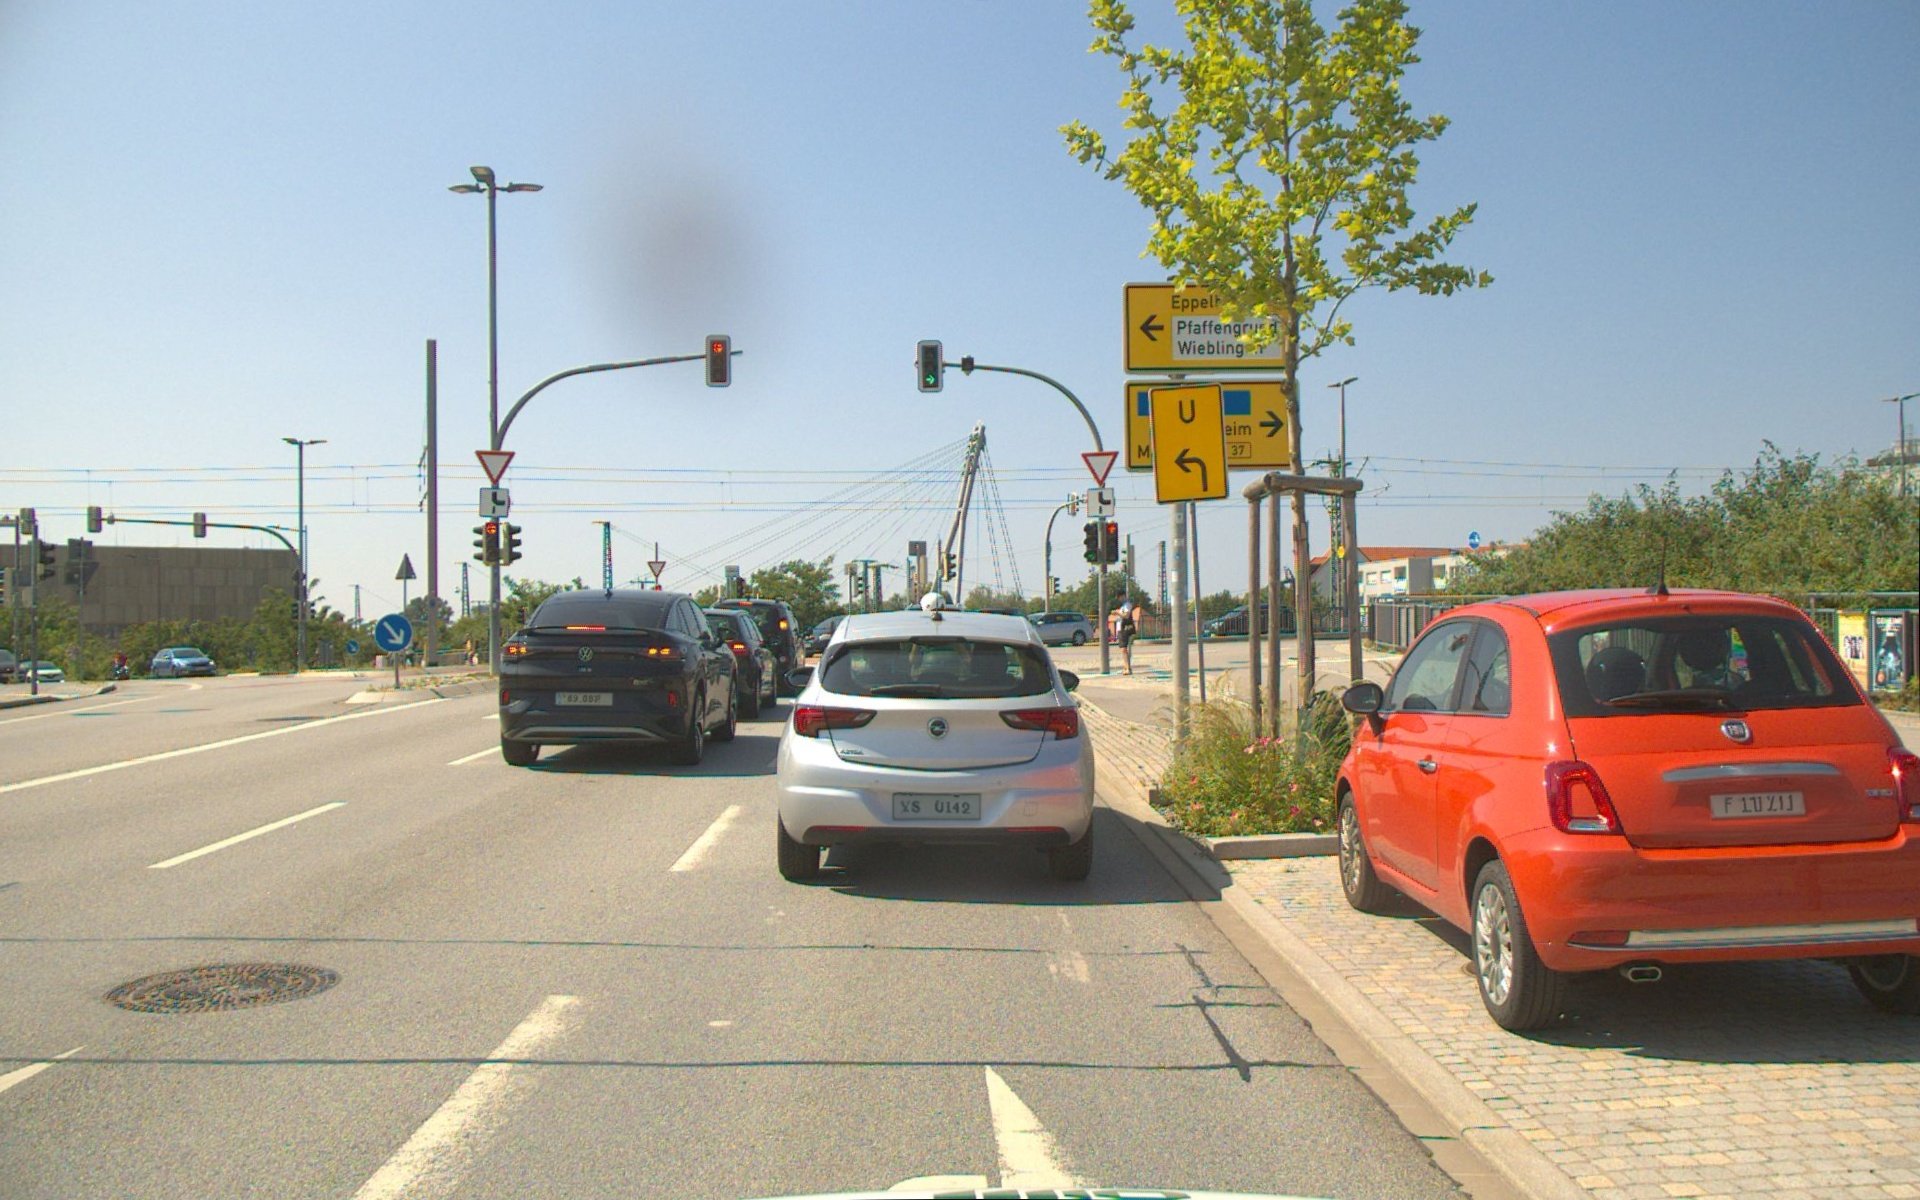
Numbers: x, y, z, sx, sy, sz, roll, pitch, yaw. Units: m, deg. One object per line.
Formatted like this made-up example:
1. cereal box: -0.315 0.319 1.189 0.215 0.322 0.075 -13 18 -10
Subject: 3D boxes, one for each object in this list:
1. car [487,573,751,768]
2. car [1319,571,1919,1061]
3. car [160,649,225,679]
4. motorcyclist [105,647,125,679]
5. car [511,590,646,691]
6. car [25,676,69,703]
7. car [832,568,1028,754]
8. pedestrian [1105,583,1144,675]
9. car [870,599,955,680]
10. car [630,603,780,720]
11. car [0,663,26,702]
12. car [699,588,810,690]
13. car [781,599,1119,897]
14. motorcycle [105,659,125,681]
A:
1. car: -3.258 0.647 16.646 1.765 1.670 4.365 1 -1 -1
2. car: 2.684 0.693 7.003 1.577 1.522 3.352 -2 0 1
3. car: -35.652 2.962 76.798 1.806 1.354 3.942 2 -3 -40
4. motorcyclist: -41.244 3.062 80.701 0.745 1.520 0.668 2 -1 -38
5. car: -6.419 0.670 28.146 1.565 1.575 3.760 1 -1 -3
6. car: -50.642 4.944 91.721 1.595 1.362 2.882 2 -1 -40
7. car: -0.324 0.606 18.918 1.953 1.852 4.401 1 0 -1
8. pedestrian: 3.427 0.601 34.522 0.634 1.868 0.797 -2 -1 -3
9. car: -0.976 0.799 35.436 1.689 1.591 4.000 1 0 0
10. car: -3.433 0.806 22.855 1.543 1.459 3.785 1 -1 -1
11. car: -41.012 3.513 70.409 1.662 1.502 3.358 -1 0 -39
12. car: -3.520 0.655 28.901 1.616 1.644 3.818 1 -1 -3
13. car: -0.150 0.783 10.451 1.708 1.504 3.997 1 -1 -3
14. motorcycle: -41.223 3.413 80.650 0.515 0.972 1.908 2 -1 -37
